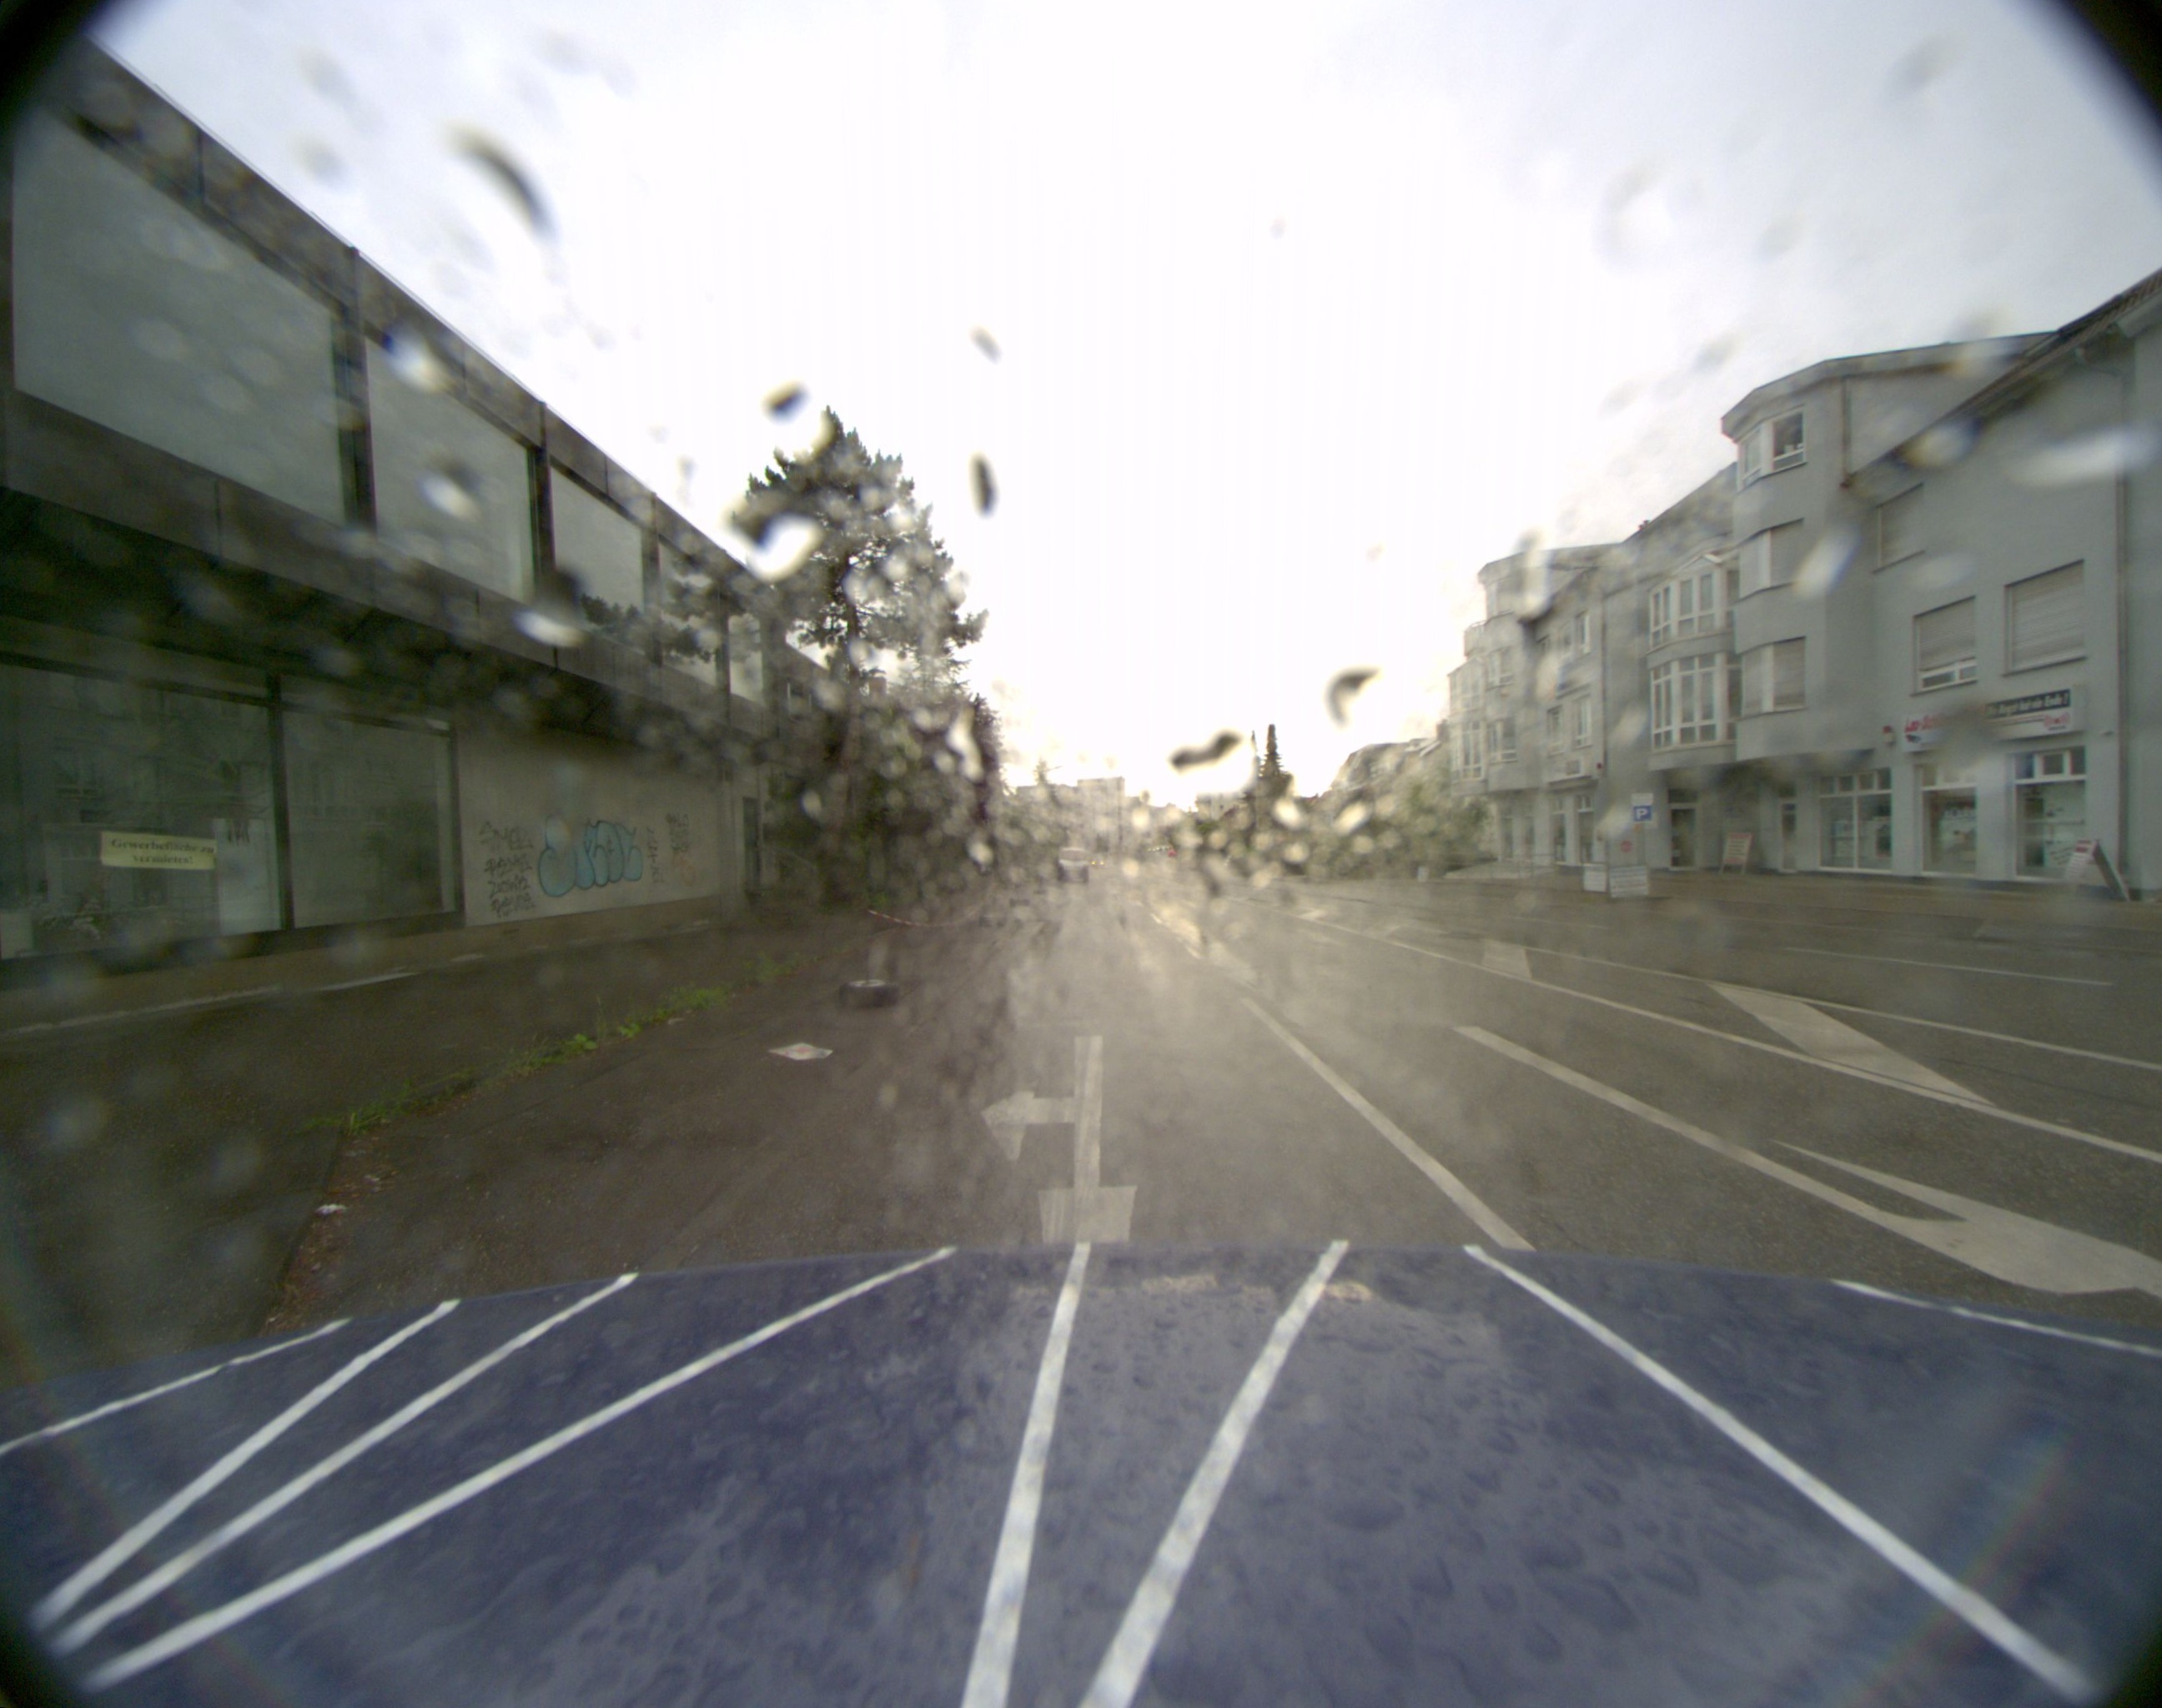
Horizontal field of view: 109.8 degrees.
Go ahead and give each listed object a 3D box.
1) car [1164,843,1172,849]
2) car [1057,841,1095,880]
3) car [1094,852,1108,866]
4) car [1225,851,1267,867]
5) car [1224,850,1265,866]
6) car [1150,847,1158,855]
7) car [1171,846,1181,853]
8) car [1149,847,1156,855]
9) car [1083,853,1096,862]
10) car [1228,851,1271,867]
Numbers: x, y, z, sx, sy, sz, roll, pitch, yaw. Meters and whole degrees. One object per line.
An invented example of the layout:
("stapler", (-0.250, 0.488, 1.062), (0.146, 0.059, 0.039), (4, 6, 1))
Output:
("car", (24.528, -2.220, 214.520), (1.850, 1.753, 4.124), (-1, 0, 11))
("car", (-0.258, 0.415, 51.667), (2.397, 2.417, 6.433), (-1, 0, 1))
("car", (2.872, 0.721, 109.768), (1.835, 1.783, 3.837), (-3, 0, 2))
("car", (17.410, 0.534, 80.192), (4.155, 1.434, 1.891), (-3, 0, 8))
("car", (17.823, 0.457, 82.903), (4.114, 1.536, 2.001), (-3, 0, 6))
("car", (17.722, -0.657, 184.112), (1.851, 1.870, 4.122), (-1, 0, 5))
("car", (22.537, -1.076, 180.817), (1.997, 1.606, 4.003), (-1, 0, 11))
("car", (18.024, -0.774, 191.218), (1.851, 1.753, 4.123), (-1, 0, 6))
("car", (1.497, 0.575, 133.947), (1.912, 1.622, 3.703), (-1, 0, 5))
("car", (17.173, 0.524, 77.709), (4.034, 1.434, 1.813), (-3, 0, 6))
